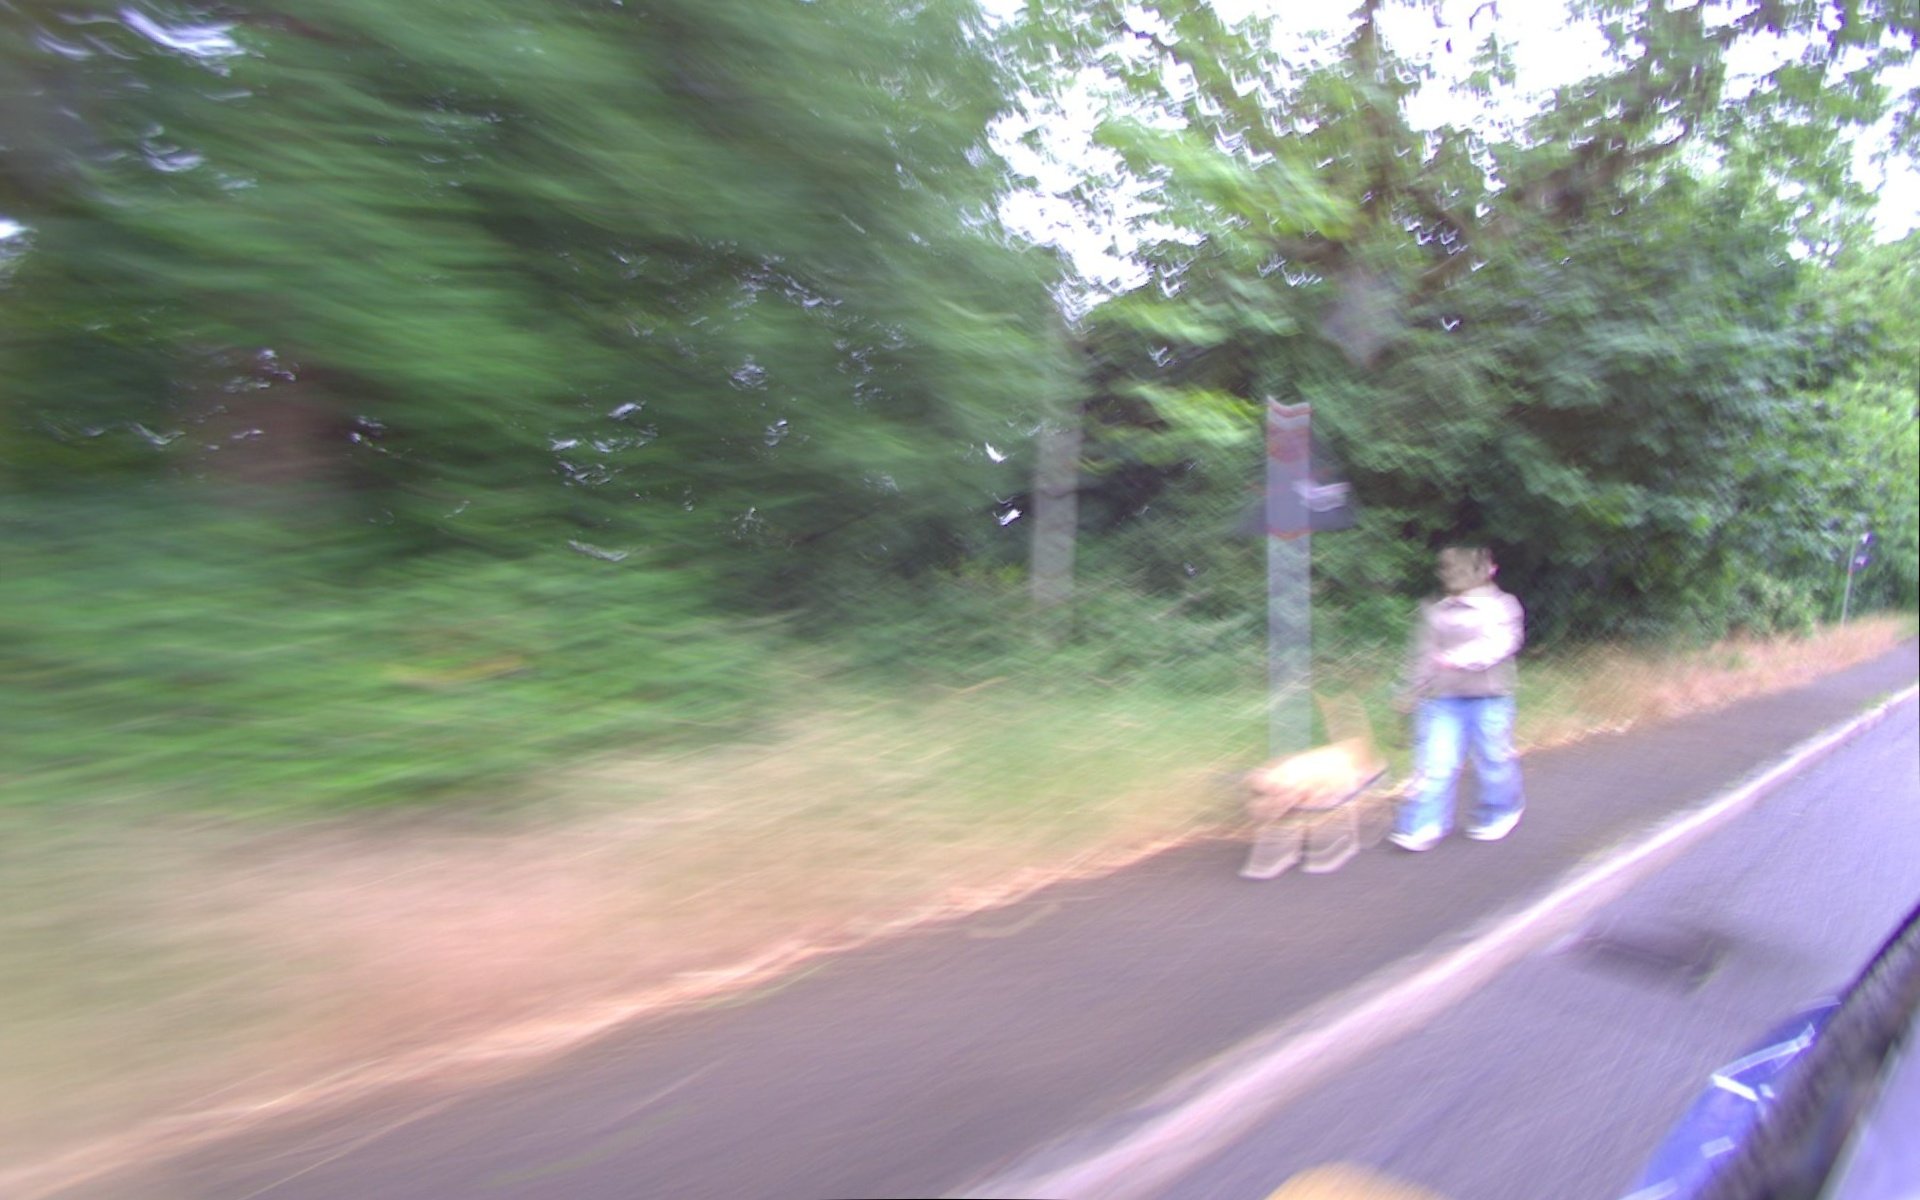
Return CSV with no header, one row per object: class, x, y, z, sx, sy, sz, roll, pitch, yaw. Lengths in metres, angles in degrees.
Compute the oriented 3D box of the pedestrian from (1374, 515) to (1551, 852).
pedestrian,2.657,0.394,5.354,0.658,1.631,0.643,-1,1,-42
